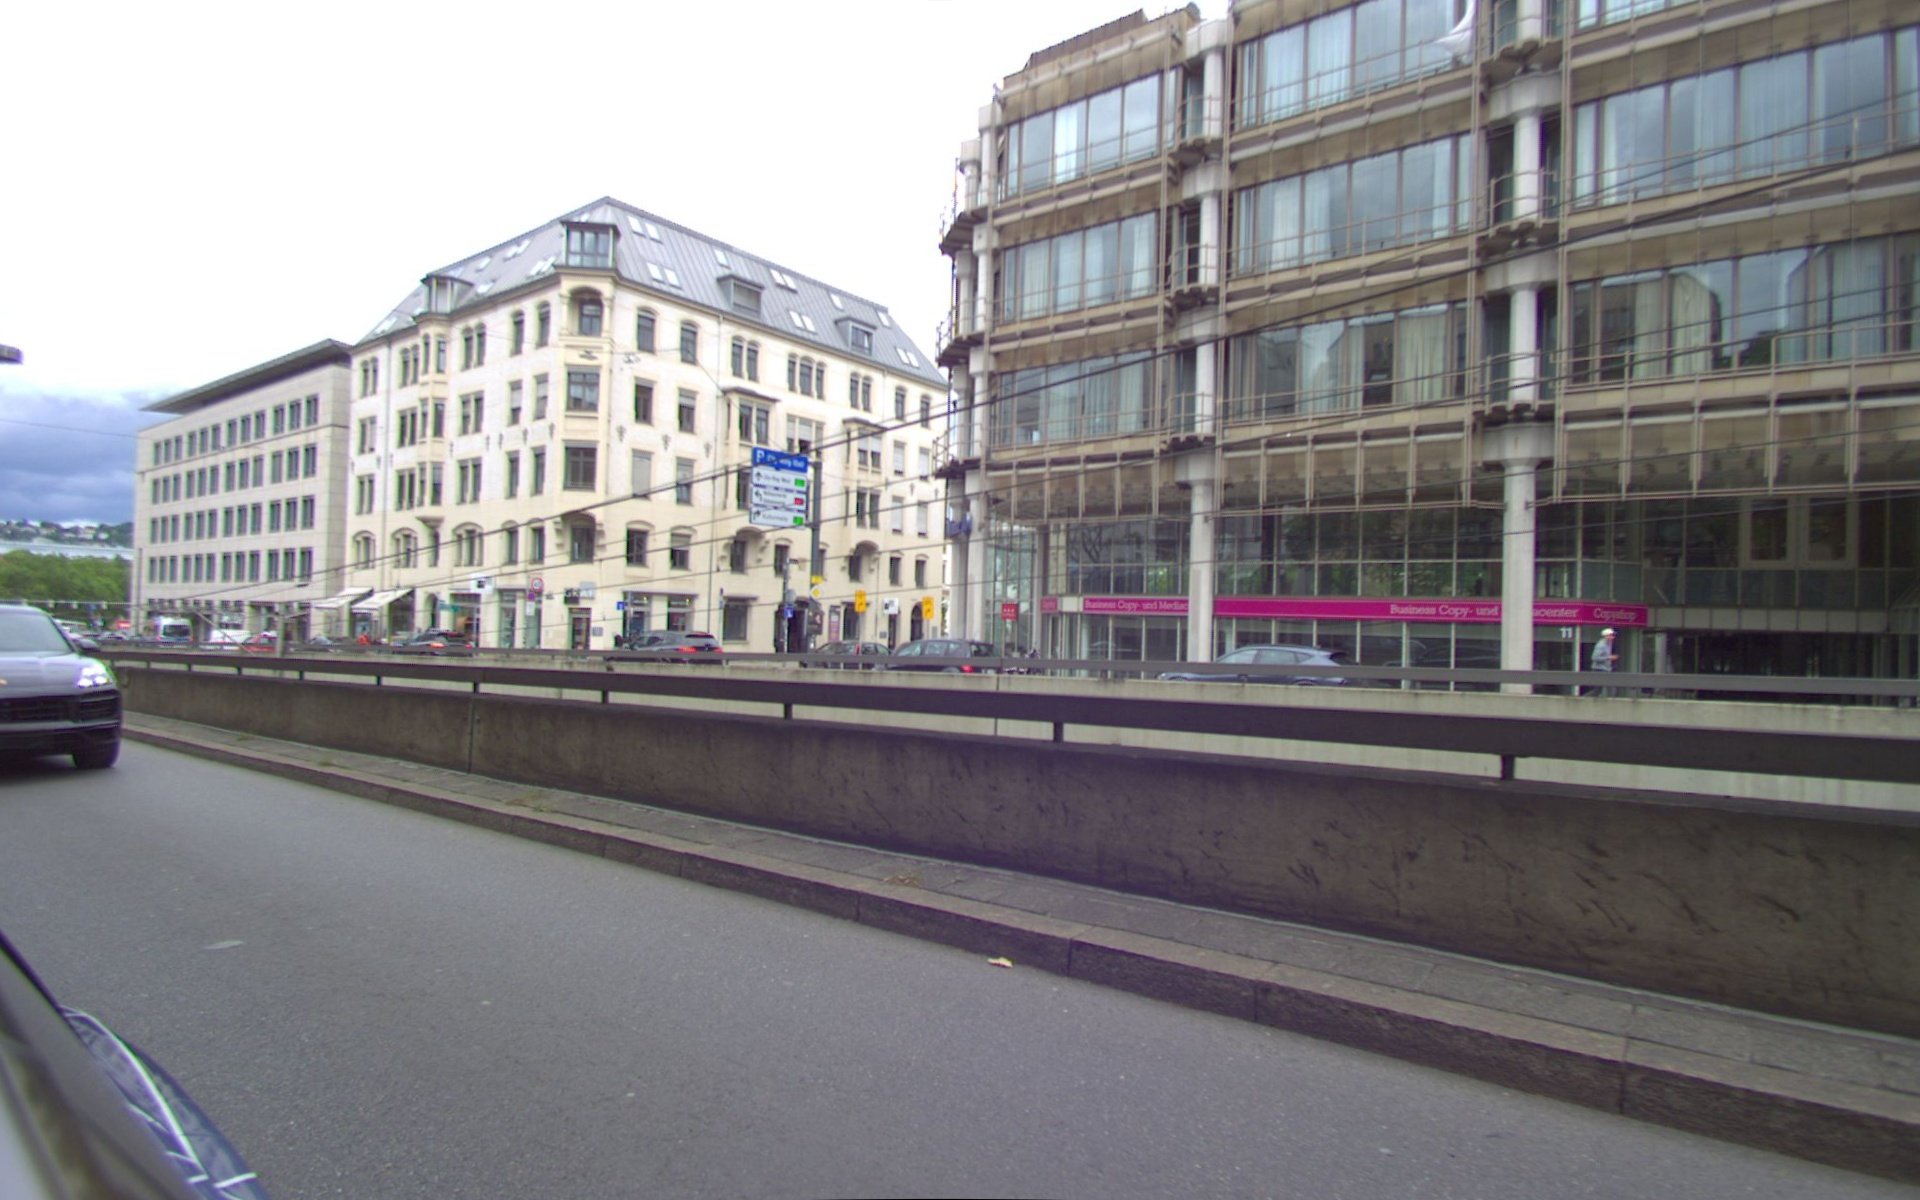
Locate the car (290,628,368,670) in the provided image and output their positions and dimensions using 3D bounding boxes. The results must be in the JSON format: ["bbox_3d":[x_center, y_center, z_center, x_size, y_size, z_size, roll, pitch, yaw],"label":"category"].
[{"bbox_3d":[-32.599,2.482,52.212,4.785,2.029,1.974,-1,-1,39],"label":"car"}]

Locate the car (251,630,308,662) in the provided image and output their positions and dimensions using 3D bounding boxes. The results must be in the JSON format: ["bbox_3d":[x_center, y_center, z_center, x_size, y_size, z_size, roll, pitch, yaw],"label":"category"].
[{"bbox_3d":[-44.622,2.984,66.337,3.995,2.029,1.974,-2,-3,39],"label":"car"}]

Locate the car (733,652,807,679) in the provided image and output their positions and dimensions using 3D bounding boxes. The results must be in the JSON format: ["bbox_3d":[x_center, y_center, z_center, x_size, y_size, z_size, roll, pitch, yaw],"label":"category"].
[{"bbox_3d":[-9.378,3.227,50.177,1.644,1.243,3.561,-1,-3,31],"label":"car"}]

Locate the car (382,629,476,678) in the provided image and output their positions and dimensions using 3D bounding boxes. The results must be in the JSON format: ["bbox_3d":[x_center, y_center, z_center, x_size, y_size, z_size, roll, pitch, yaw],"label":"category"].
[{"bbox_3d":[-23.491,2.301,44.709,4.785,2.029,1.974,-1,-1,39],"label":"car"}]

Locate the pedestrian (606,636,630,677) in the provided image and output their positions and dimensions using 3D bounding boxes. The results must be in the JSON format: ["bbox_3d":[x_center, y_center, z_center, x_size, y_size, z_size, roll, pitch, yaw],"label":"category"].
[{"bbox_3d":[-14.599,2.385,43.177,0.684,1.724,0.705,-2,-3,28],"label":"pedestrian"}]

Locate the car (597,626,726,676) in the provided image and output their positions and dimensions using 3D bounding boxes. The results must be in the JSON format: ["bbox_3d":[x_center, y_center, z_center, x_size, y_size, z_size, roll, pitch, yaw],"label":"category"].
[{"bbox_3d":[-10.114,1.698,34.139,4.635,1.572,1.796,-1,-3,37],"label":"car"}]

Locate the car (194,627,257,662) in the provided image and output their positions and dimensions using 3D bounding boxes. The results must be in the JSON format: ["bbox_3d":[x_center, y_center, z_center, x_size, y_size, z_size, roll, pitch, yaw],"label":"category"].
[{"bbox_3d":[-45.357,2.692,62.459,4.785,2.029,1.974,-1,-1,39],"label":"car"}]

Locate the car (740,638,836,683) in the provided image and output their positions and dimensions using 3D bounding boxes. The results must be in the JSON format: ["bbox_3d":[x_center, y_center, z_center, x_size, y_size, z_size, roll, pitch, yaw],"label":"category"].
[{"bbox_3d":[-6.680,2.325,39.685,1.647,1.674,3.606,-1,-3,35],"label":"car"}]

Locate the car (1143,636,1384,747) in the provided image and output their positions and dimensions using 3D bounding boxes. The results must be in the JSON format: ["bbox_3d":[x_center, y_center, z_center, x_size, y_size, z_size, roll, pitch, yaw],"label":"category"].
[{"bbox_3d":[6.206,1.769,20.911,4.374,1.929,1.974,0,0,39],"label":"car"}]

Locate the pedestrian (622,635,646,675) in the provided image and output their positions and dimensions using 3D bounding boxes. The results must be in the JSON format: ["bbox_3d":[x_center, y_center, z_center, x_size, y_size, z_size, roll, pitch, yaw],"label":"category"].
[{"bbox_3d":[-14.181,2.392,44.061,0.684,1.724,0.705,-2,-3,28],"label":"pedestrian"}]

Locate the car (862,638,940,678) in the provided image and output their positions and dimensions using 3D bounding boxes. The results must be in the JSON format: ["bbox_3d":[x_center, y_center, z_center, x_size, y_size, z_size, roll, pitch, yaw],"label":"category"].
[{"bbox_3d":[-2.576,2.550,45.132,1.646,1.674,3.557,-1,-3,35],"label":"car"}]

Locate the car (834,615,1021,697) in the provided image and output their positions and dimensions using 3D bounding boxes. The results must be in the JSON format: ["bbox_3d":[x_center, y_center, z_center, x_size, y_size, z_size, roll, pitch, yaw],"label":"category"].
[{"bbox_3d":[-0.919,1.422,26.667,4.783,1.978,1.975,-1,-3,38],"label":"car"}]

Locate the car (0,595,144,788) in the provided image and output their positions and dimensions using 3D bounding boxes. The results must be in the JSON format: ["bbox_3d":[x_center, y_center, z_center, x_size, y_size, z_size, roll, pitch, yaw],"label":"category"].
[{"bbox_3d":[-10.514,0.877,10.528,5.345,1.688,2.063,-2,-2,39],"label":"car"}]

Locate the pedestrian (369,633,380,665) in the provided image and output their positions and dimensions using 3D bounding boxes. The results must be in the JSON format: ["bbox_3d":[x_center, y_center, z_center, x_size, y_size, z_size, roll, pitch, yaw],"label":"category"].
[{"bbox_3d":[-32.703,2.743,56.522,0.502,1.793,0.579,1,-2,-28],"label":"pedestrian"}]

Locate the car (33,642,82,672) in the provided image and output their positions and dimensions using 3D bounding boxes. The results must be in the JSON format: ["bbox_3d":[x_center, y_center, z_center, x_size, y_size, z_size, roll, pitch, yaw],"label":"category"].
[{"bbox_3d":[-66.279,4.133,74.302,4.785,2.029,1.974,-1,-1,39],"label":"car"}]

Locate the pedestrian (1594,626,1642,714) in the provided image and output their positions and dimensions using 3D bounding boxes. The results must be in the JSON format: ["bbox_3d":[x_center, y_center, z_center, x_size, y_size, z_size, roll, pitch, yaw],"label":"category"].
[{"bbox_3d":[13.920,1.451,21.412,0.739,1.806,0.723,-1,-1,40],"label":"pedestrian"}]

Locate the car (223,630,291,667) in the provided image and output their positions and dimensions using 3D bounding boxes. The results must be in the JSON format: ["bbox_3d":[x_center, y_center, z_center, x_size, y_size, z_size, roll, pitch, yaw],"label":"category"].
[{"bbox_3d":[-40.634,2.774,58.486,4.785,2.029,1.974,-1,-1,39],"label":"car"}]

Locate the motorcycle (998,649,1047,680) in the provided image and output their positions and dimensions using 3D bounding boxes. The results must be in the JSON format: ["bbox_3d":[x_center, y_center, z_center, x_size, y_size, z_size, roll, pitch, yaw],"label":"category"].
[{"bbox_3d":[2.272,2.349,36.868,1.659,1.083,0.640,-1,-1,19],"label":"motorcycle"}]

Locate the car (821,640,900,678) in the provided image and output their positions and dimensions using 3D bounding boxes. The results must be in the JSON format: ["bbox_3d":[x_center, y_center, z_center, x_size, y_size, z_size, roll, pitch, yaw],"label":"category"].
[{"bbox_3d":[-4.508,2.678,46.253,1.646,1.674,3.557,-1,-3,35],"label":"car"}]

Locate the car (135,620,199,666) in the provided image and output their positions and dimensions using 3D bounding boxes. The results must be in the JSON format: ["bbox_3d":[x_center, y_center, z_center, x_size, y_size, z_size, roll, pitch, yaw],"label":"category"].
[{"bbox_3d":[-55.001,2.925,70.131,5.463,3.084,2.341,-1,-1,39],"label":"car"}]
